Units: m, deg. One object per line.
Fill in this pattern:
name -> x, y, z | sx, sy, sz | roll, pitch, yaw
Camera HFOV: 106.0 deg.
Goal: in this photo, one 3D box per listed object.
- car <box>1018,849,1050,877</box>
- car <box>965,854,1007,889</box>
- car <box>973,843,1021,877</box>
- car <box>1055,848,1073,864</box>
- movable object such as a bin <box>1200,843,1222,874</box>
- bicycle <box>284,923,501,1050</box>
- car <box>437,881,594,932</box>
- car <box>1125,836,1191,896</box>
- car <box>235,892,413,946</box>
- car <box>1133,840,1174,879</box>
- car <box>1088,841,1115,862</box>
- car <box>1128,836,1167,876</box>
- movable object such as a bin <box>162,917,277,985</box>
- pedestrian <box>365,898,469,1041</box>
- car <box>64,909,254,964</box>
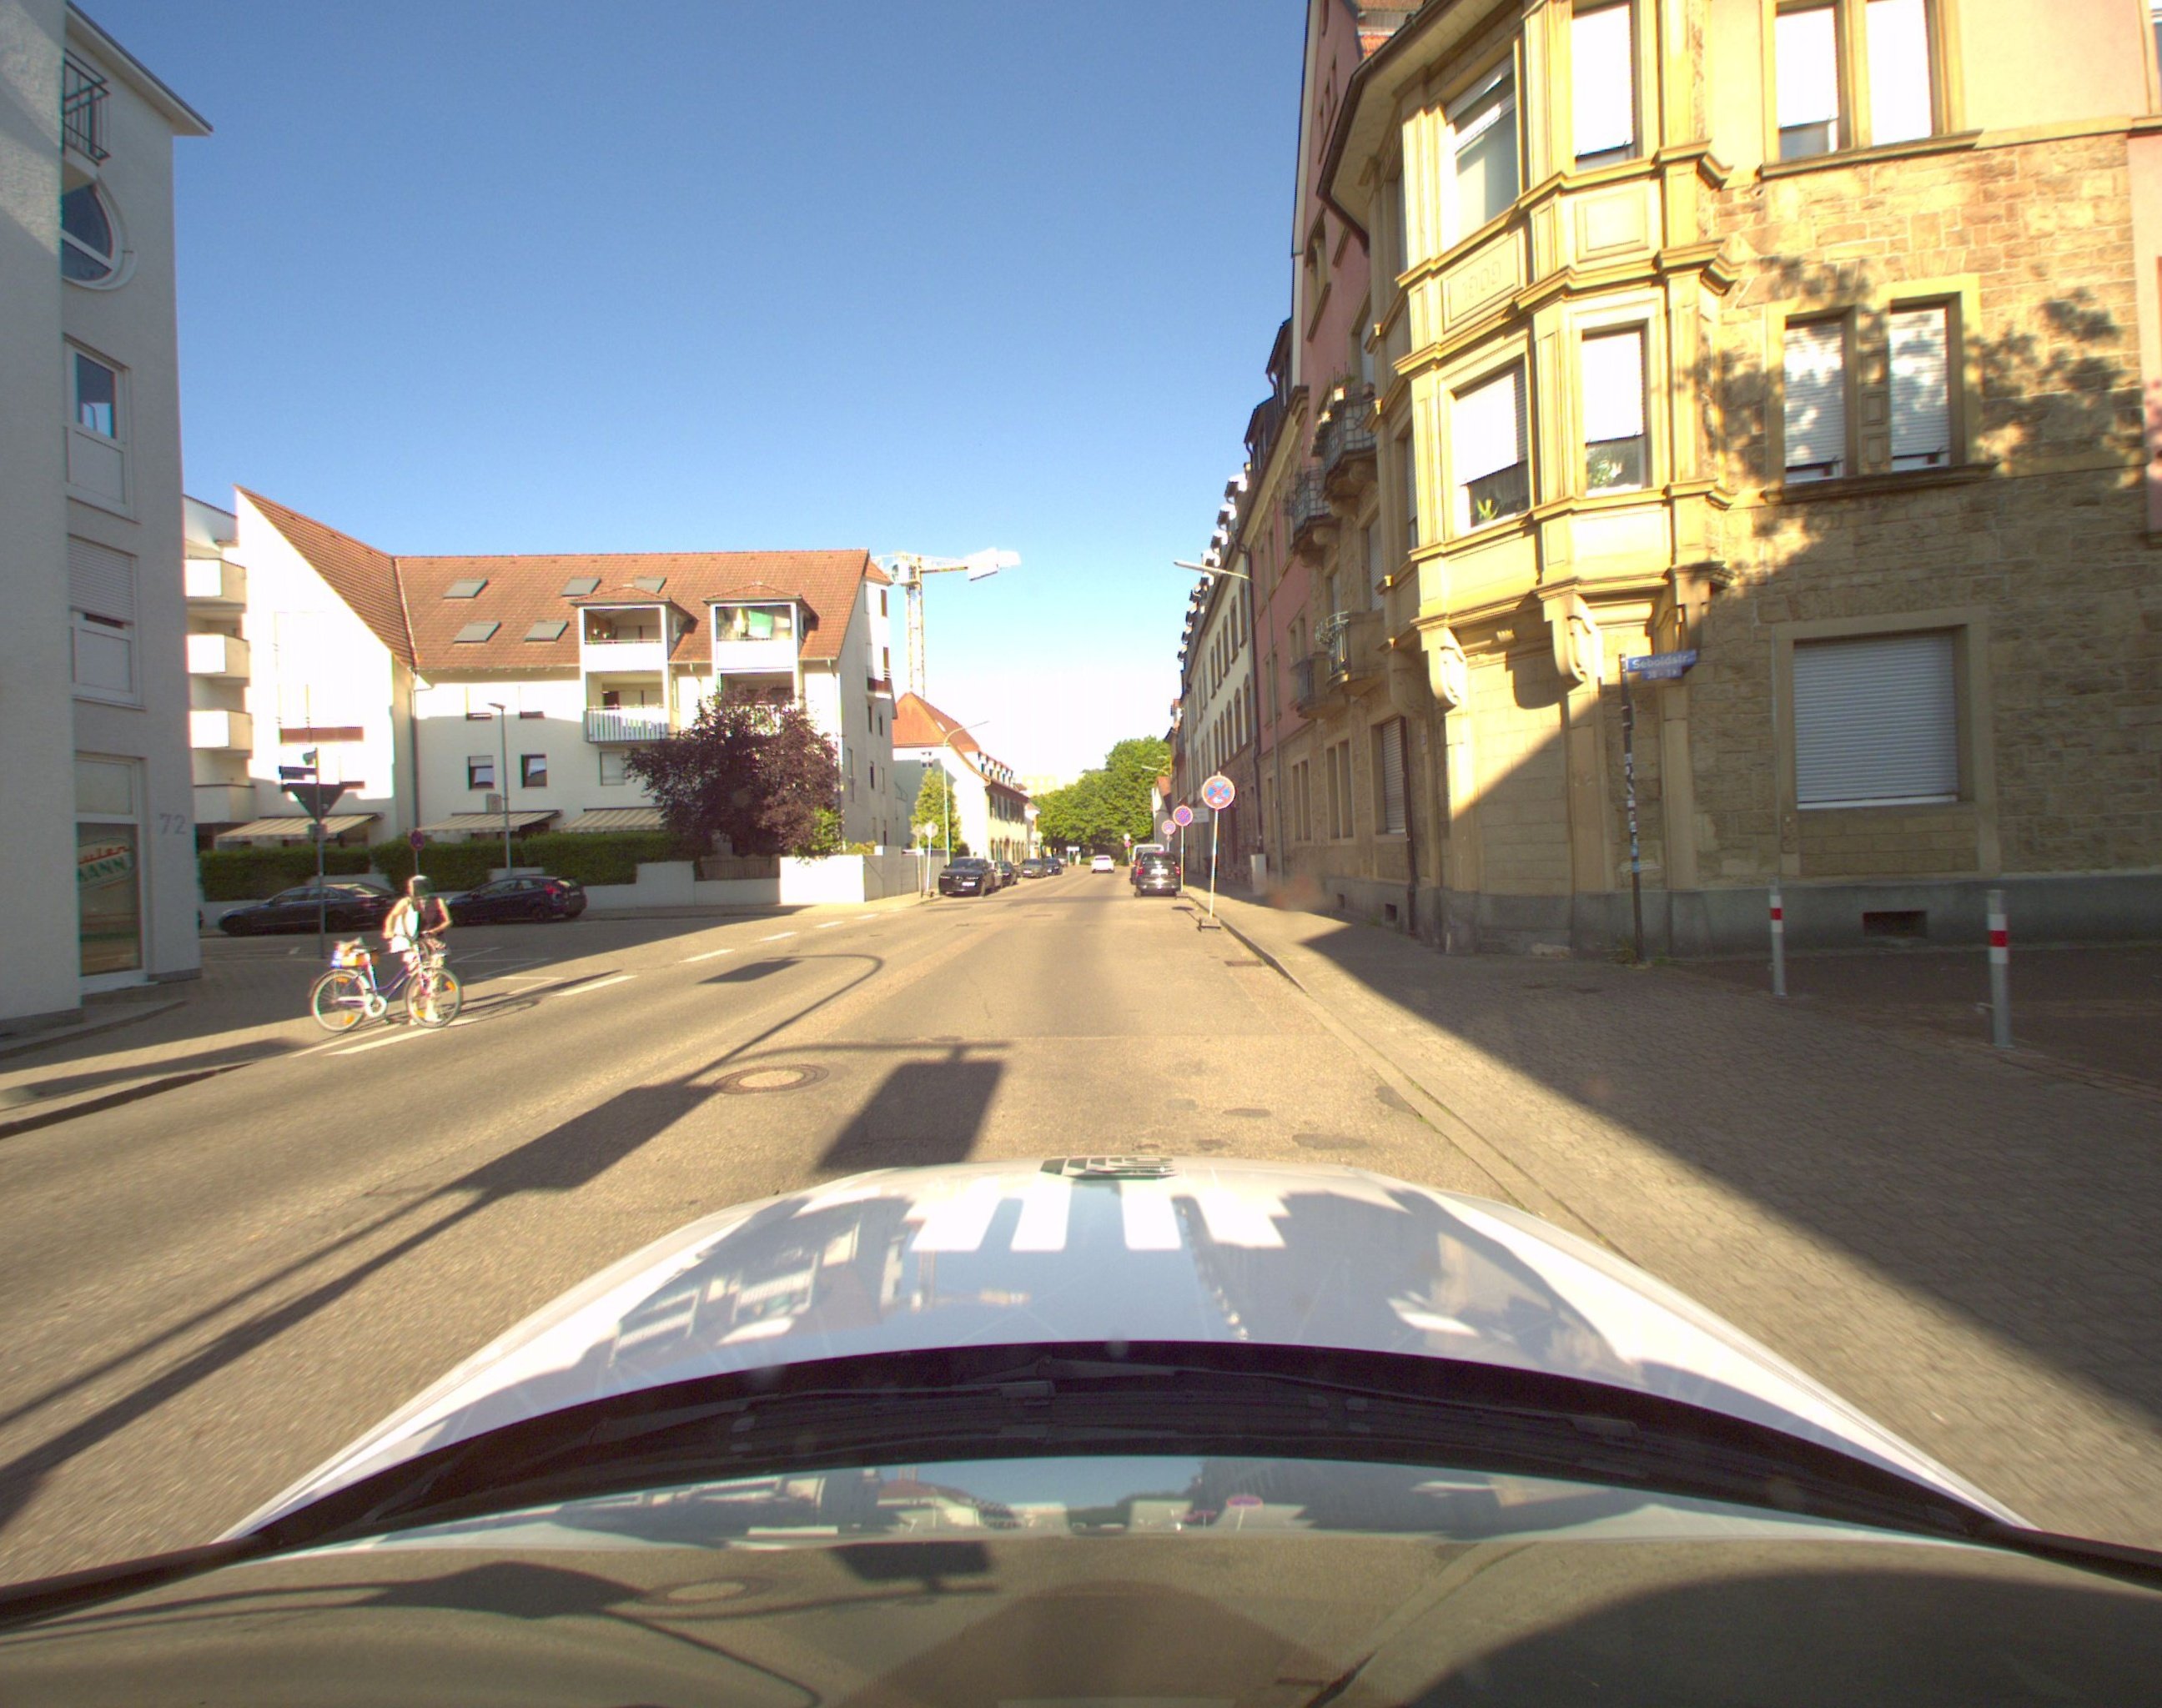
car -> -3.430, 0.612, 60.440 | 1.903, 1.759, 4.131 | -4, 2, 2
car -> -4.690, 0.840, 40.384 | 1.547, 1.457, 3.062 | -4, 2, 2
car -> -4.689, 0.299, 46.095 | 2.085, 1.630, 3.824 | -4, 2, 2
car -> -2.359, 0.295, 110.441 | 1.992, 2.013, 3.990 | -3, 1, -8
movable object such as a bin -> 6.268, 0.220, 39.241 | 0.868, 1.377, 0.685 | -4, 2, -1
bicycle -> -7.360, 1.406, 8.750 | 1.779, 1.184, 0.599 | -3, 1, 3
car -> -17.224, 1.575, 24.929 | 3.530, 1.181, 1.616 | -4, 2, -2
car -> 2.606, 0.352, 28.426 | 2.003, 1.852, 4.002 | -1, 2, 1
car -> -22.873, 1.939, 24.715 | 3.664, 1.181, 1.676 | -4, 2, -2
car -> 3.555, 0.210, 39.895 | 1.809, 1.630, 4.007 | -4, 2, 5
car -> 1.624, -0.240, 65.462 | 1.987, 1.466, 4.000 | -3, 1, 0
car -> 3.585, 0.079, 44.697 | 1.834, 1.905, 4.002 | -4, 2, 2
movable object such as a bin -> -17.104, 1.914, 16.200 | 1.215, 1.164, 0.892 | -3, 2, -3
pedestrian -> -7.363, 1.260, 9.054 | 0.555, 1.472, 0.601 | -3, 1, -1
car -> -27.608, 2.440, 24.470 | 3.664, 1.181, 1.603 | -4, 2, -2
